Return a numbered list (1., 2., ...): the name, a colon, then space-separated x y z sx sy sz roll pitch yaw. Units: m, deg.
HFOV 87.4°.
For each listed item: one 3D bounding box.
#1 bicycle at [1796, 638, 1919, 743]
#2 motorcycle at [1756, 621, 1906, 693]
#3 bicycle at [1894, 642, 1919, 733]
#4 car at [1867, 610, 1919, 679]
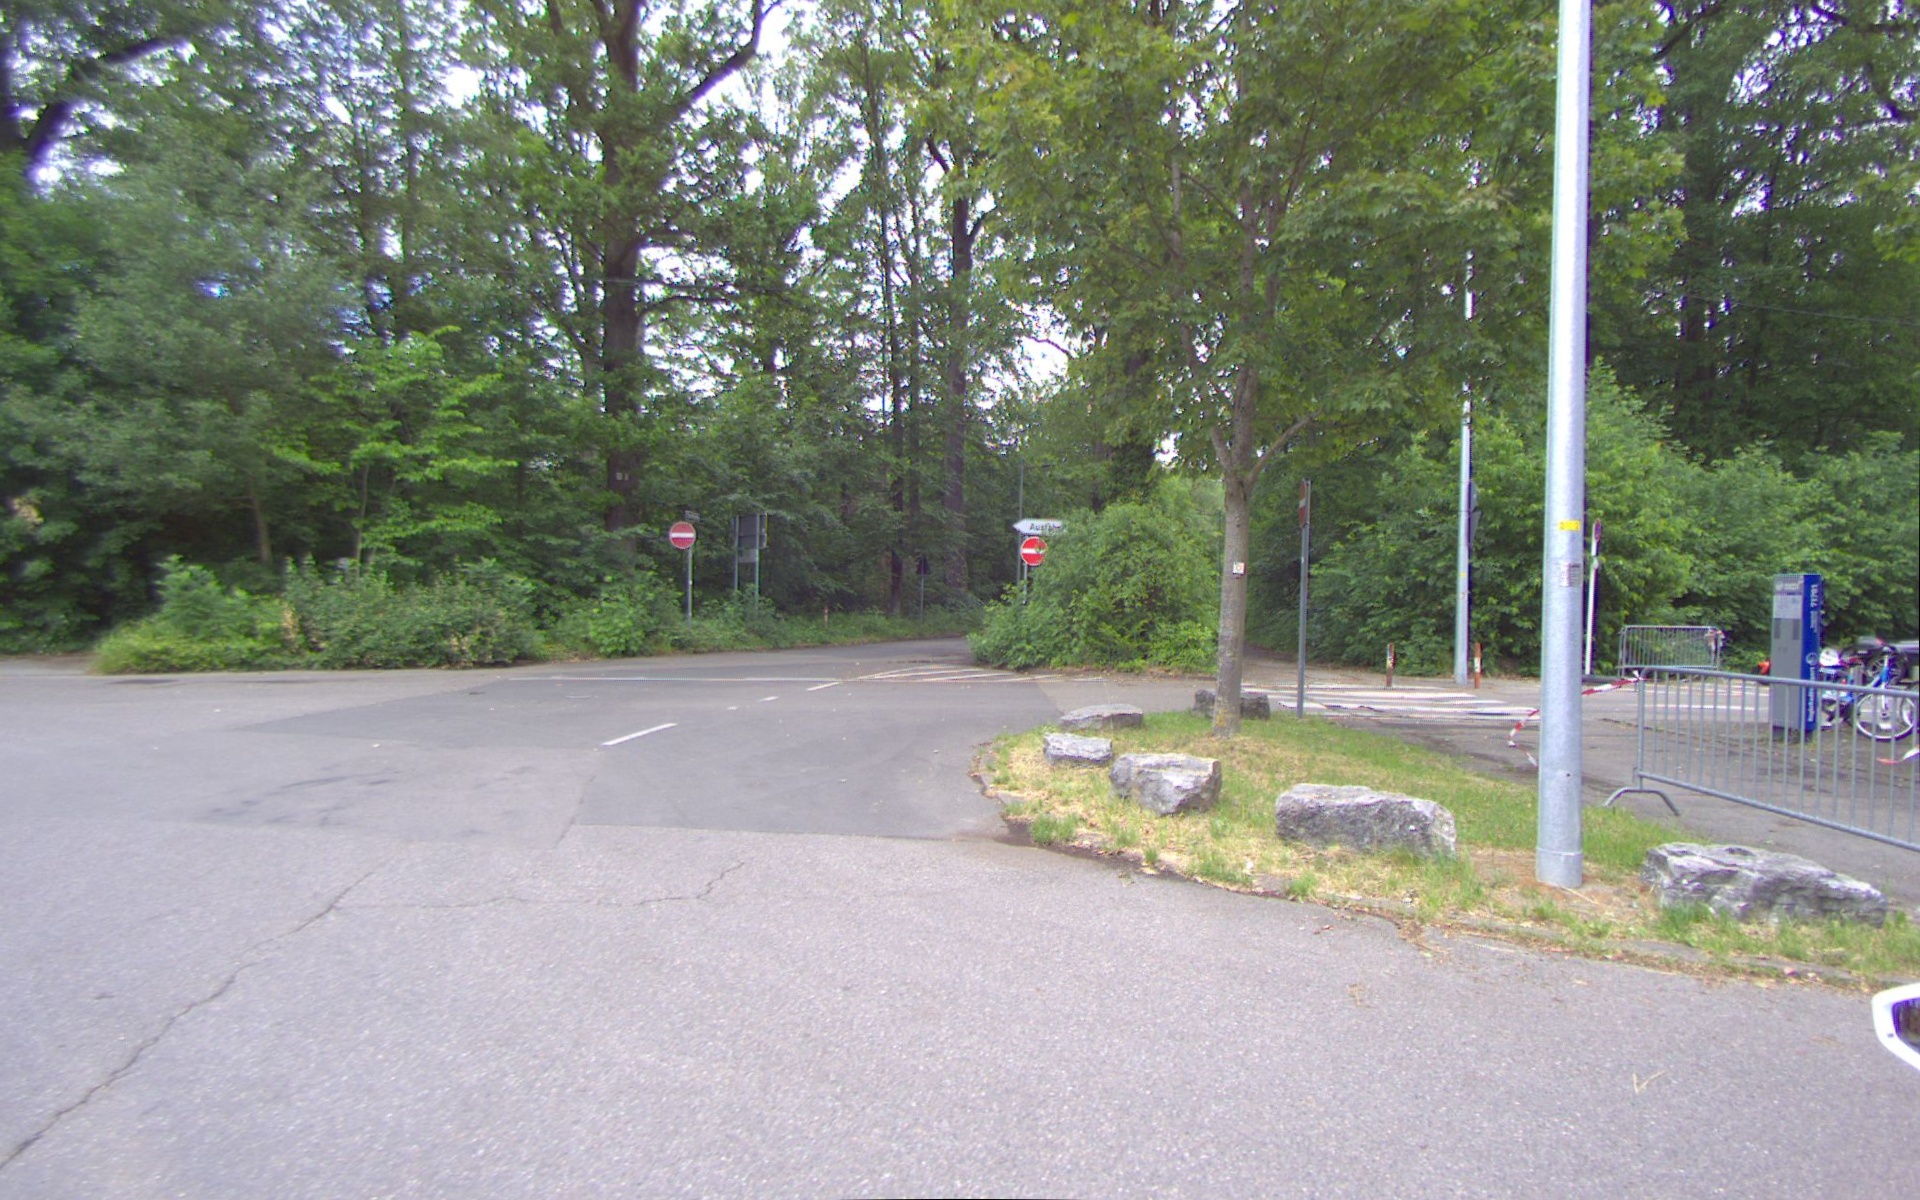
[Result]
1. bicycle: 11.171 1.082 12.386 0.473 1.126 1.698 2 1 8
2. motorcycle: 16.554 1.047 19.145 0.723 1.224 2.010 1 1 -34
3. bicycle: 12.237 1.117 12.101 0.496 1.126 1.686 2 1 6
4. car: 21.297 0.976 20.543 1.728 1.394 3.947 1 1 -44
